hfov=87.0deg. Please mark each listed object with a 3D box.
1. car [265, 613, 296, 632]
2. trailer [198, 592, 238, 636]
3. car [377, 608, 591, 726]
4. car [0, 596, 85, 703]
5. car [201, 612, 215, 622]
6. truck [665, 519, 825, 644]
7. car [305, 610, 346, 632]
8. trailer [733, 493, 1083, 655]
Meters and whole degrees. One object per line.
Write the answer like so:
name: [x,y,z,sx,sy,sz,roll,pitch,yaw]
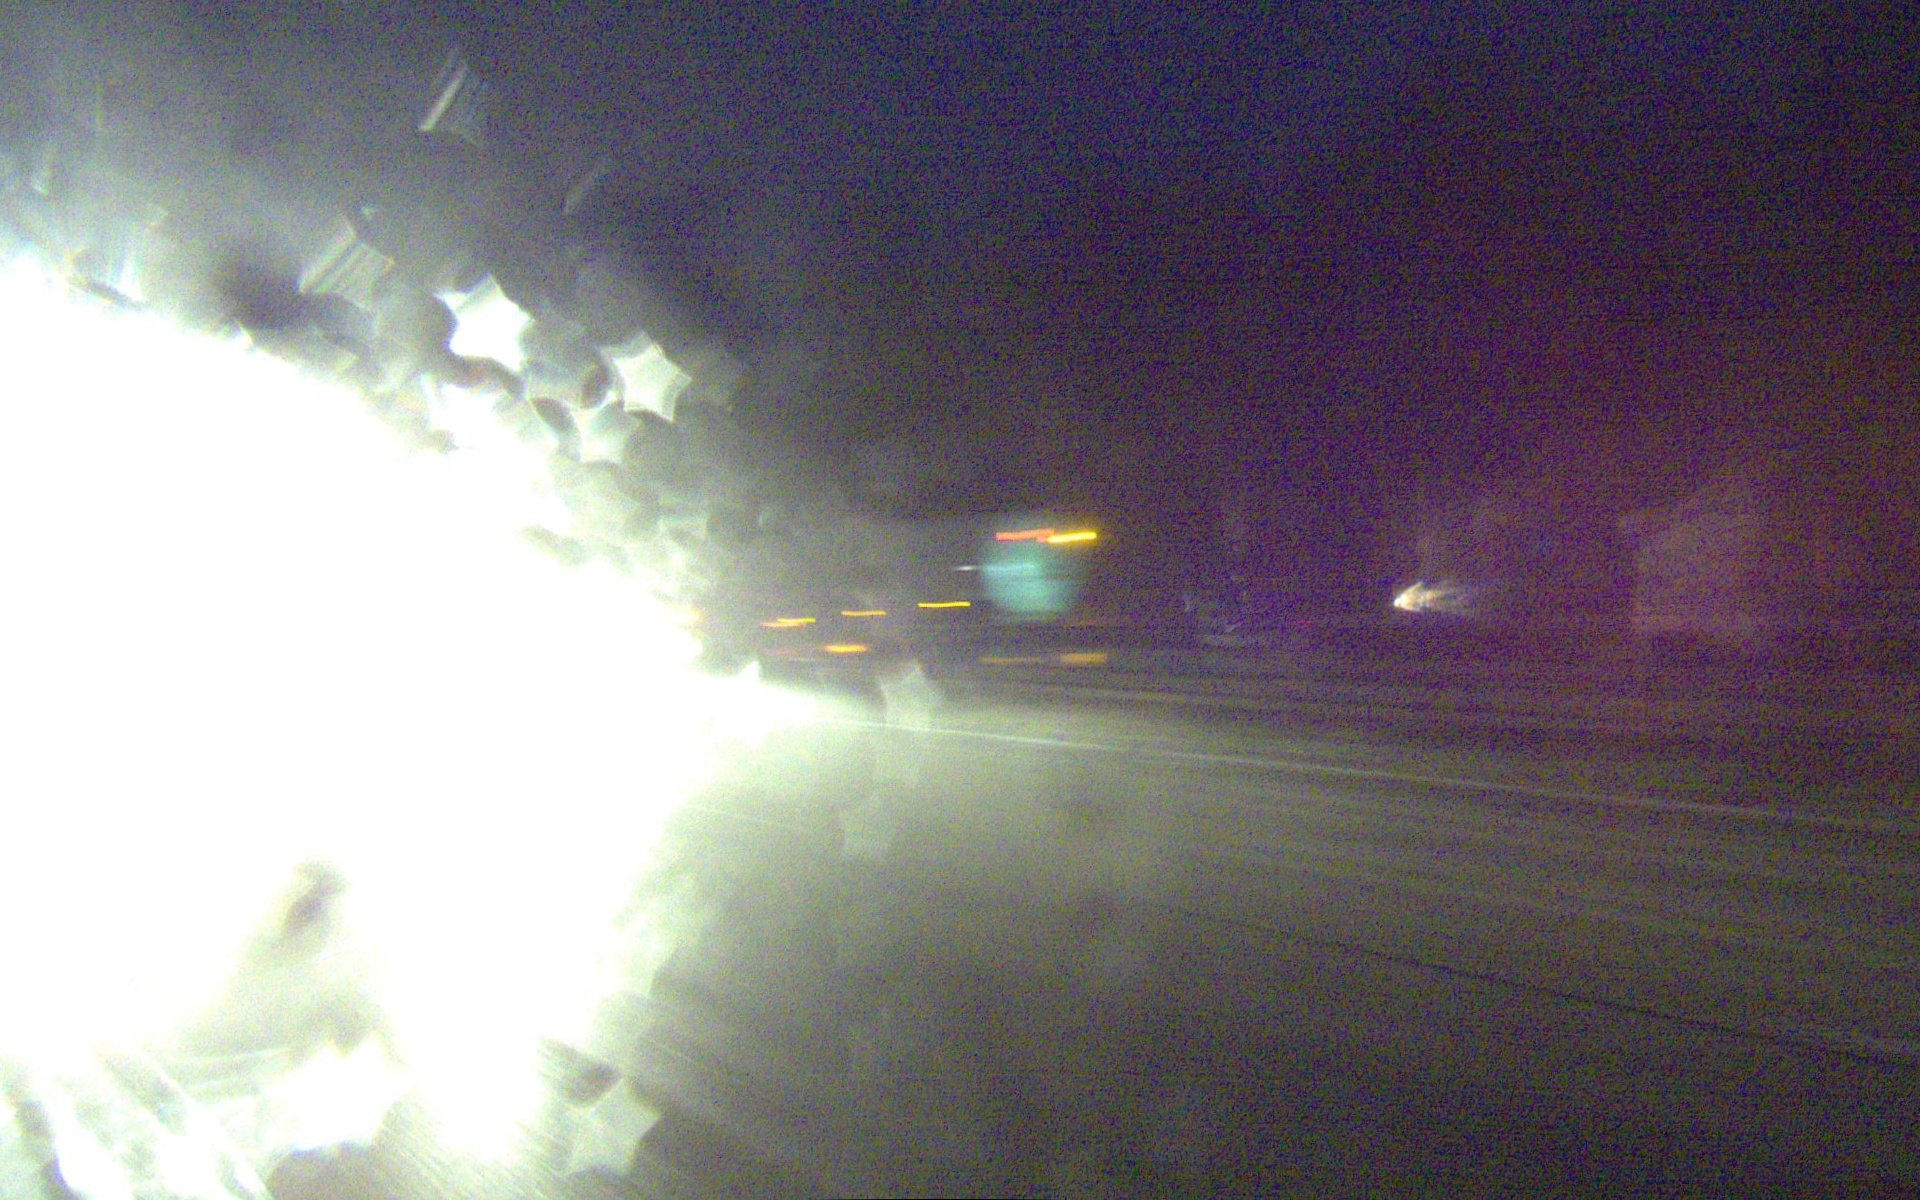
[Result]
car: [-68.820,2.272,102.531,1.970,1.741,4.004,-2,1,-43]
trailer: [-80.343,1.412,109.490,2.543,4.490,12.514,-2,1,-40]
car: [-7.413,0.961,15.592,3.848,1.587,1.632,-2,-2,42]
car: [-20.397,1.024,21.926,4.463,2.121,1.730,-2,-1,43]
car: [-129.023,2.900,173.577,1.742,1.506,3.809,-2,1,-40]
truck: [-6.612,-0.533,30.929,4.641,3.483,2.576,0,1,43]
car: [-51.713,1.674,82.477,4.198,1.655,1.876,0,1,44]
trailer: [-1.818,-0.556,26.354,10.448,3.498,2.580,0,1,43]
